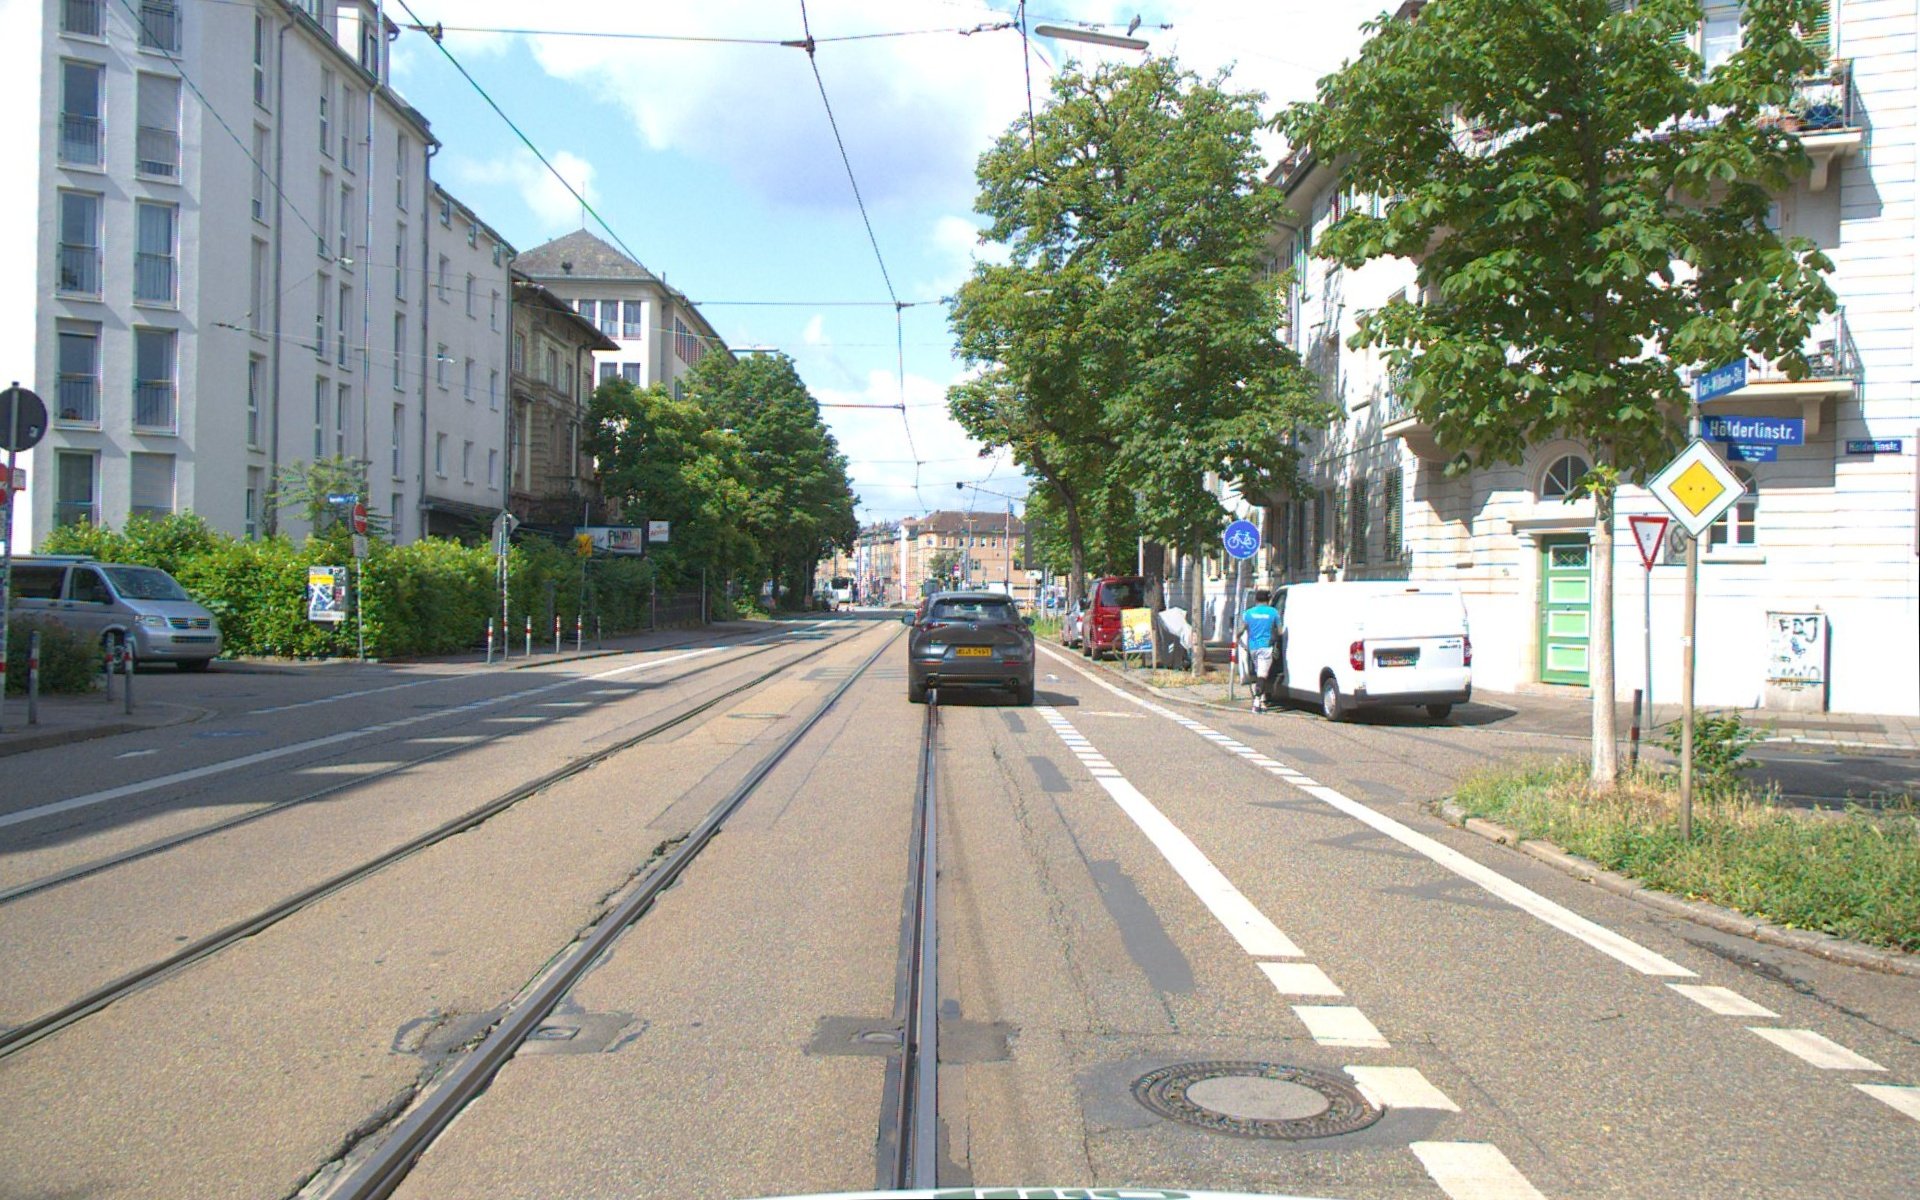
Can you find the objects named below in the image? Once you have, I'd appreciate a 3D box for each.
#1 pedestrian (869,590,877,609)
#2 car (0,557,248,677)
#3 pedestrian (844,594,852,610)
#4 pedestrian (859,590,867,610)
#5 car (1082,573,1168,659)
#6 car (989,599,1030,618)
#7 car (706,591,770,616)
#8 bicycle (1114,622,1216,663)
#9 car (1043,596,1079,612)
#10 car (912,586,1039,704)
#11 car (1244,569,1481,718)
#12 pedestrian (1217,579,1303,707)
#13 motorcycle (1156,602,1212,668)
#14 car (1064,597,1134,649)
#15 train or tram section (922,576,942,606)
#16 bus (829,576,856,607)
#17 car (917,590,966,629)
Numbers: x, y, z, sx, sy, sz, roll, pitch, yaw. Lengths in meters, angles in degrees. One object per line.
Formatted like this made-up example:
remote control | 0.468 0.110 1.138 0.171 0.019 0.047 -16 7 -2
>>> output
pedestrian | -9.430 -0.106 179.135 0.867 2.049 0.617 1 0 -5
car | -15.528 0.267 30.103 4.566 2.049 2.046 1 0 21
pedestrian | -10.501 0.170 154.721 0.736 1.537 0.823 1 0 -5
pedestrian | -10.514 -0.003 179.209 0.867 2.049 0.617 1 0 -5
car | 4.053 0.370 41.159 1.685 2.003 4.206 1 0 0
car | 4.989 0.836 166.630 3.749 1.646 1.629 3 0 -19
car | -13.416 0.202 100.124 3.674 1.309 1.609 3 0 -5
bicycle | 4.659 0.960 37.615 2.229 0.876 0.671 1 0 -2
car | 11.268 0.430 184.422 3.770 1.646 1.620 3 0 -32
car | 0.173 0.596 23.944 1.686 1.553 3.588 1 0 -1
car | 5.795 0.559 24.503 1.753 1.972 4.983 1 0 -7
pedestrian | 4.496 0.633 24.786 0.948 1.868 0.810 1 0 -29
motorcycle | 4.632 0.708 34.377 0.778 1.293 2.422 1 0 -1
car | 4.064 0.646 48.781 1.686 1.449 3.588 1 0 -1
train or tram section | -3.699 -1.148 220.082 2.519 3.838 13.024 0 0 0
bus | -14.313 -1.019 200.584 2.637 3.480 11.001 3 0 -7
car | -0.825 0.398 71.070 1.953 1.555 3.999 3 0 -1
